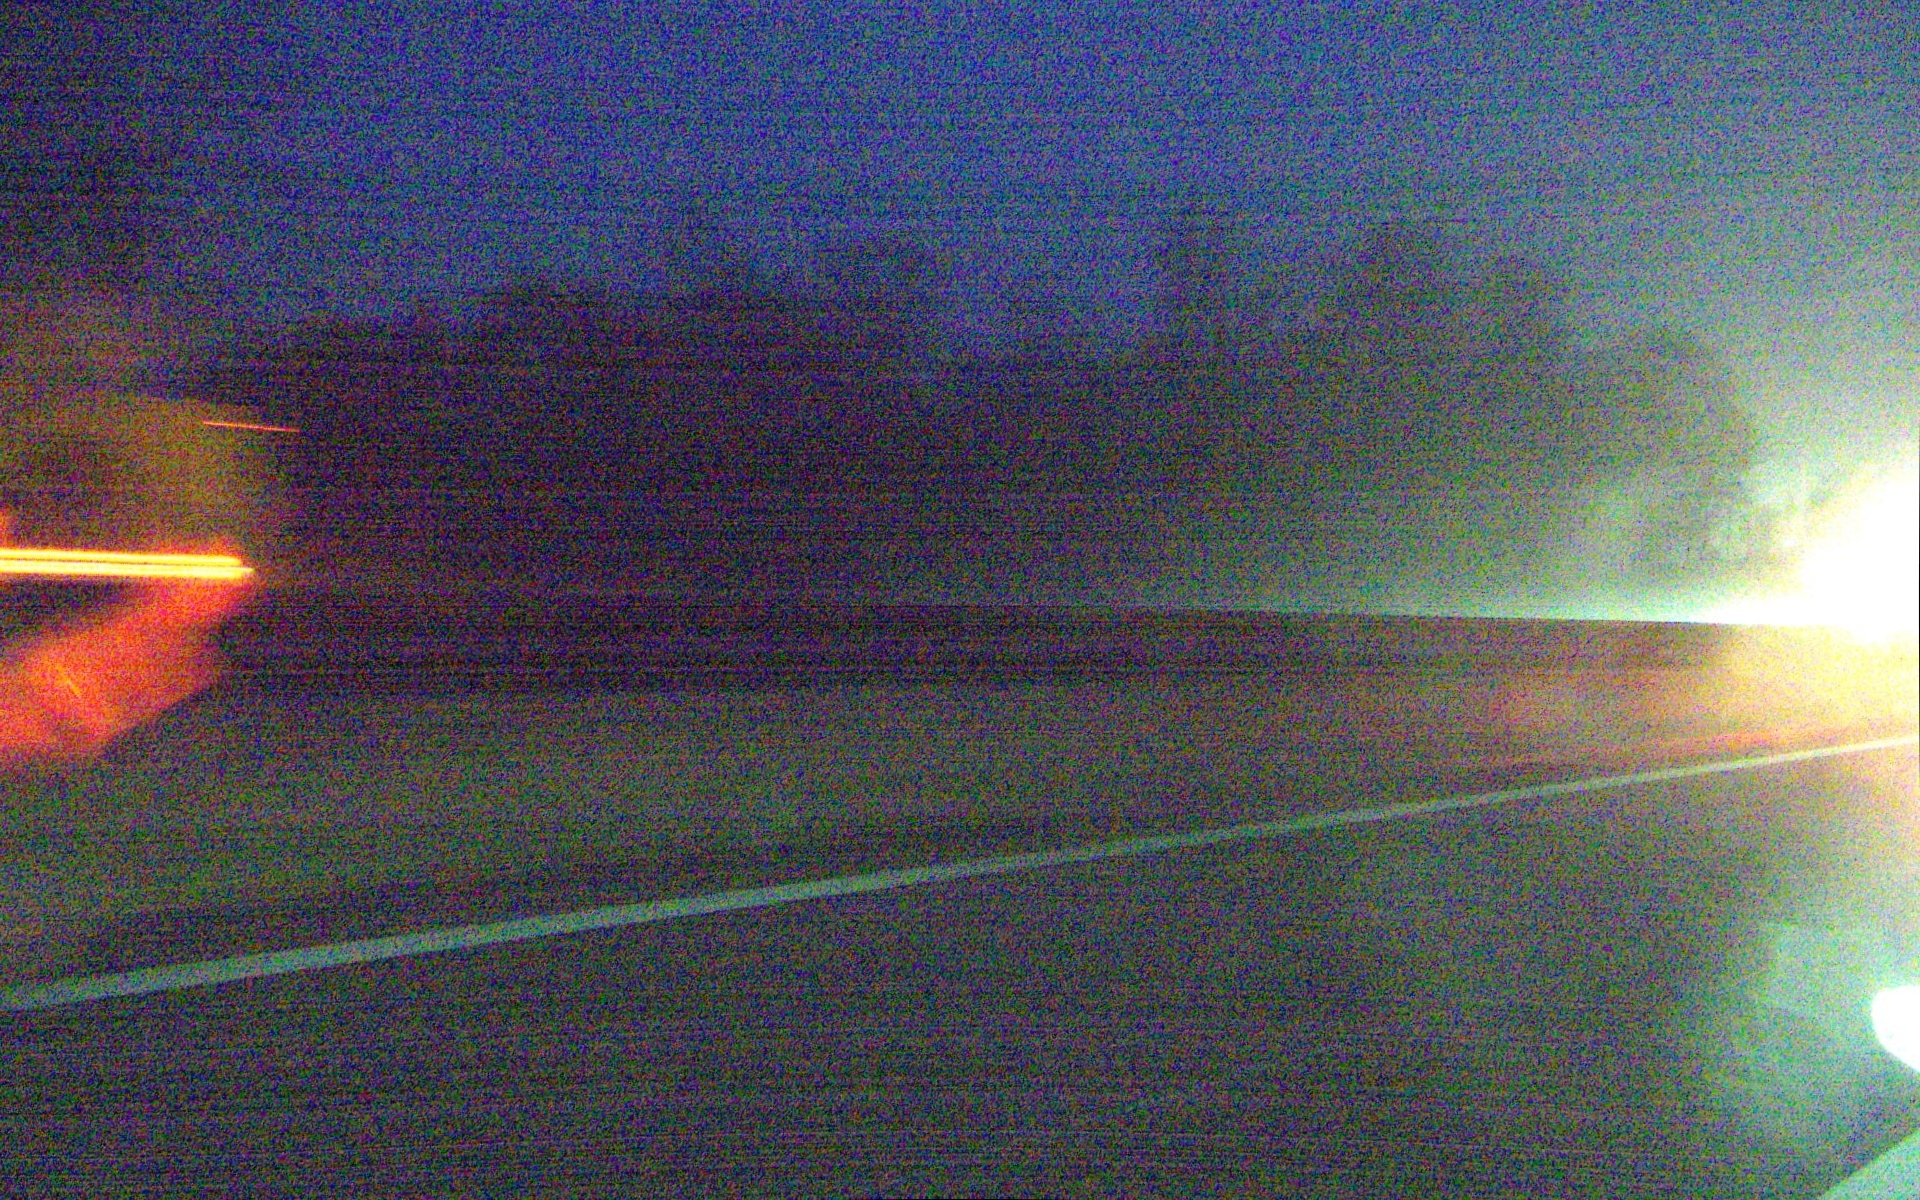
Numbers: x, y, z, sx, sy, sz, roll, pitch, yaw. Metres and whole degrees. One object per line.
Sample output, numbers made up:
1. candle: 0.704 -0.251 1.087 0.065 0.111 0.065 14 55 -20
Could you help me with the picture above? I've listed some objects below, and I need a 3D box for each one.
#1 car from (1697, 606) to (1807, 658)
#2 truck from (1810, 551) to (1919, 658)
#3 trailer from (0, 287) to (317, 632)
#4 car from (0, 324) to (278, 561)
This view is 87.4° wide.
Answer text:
1. car: 30.186 1.232 38.255 3.957 1.620 1.982 3 4 -33
2. truck: 50.875 0.147 55.050 11.650 5.385 2.512 -1 5 -30
3. trailer: -18.148 -2.157 14.455 14.759 5.161 2.757 -1 5 -31
4. car: -11.449 -1.732 11.011 6.344 2.430 2.409 -1 5 -30
